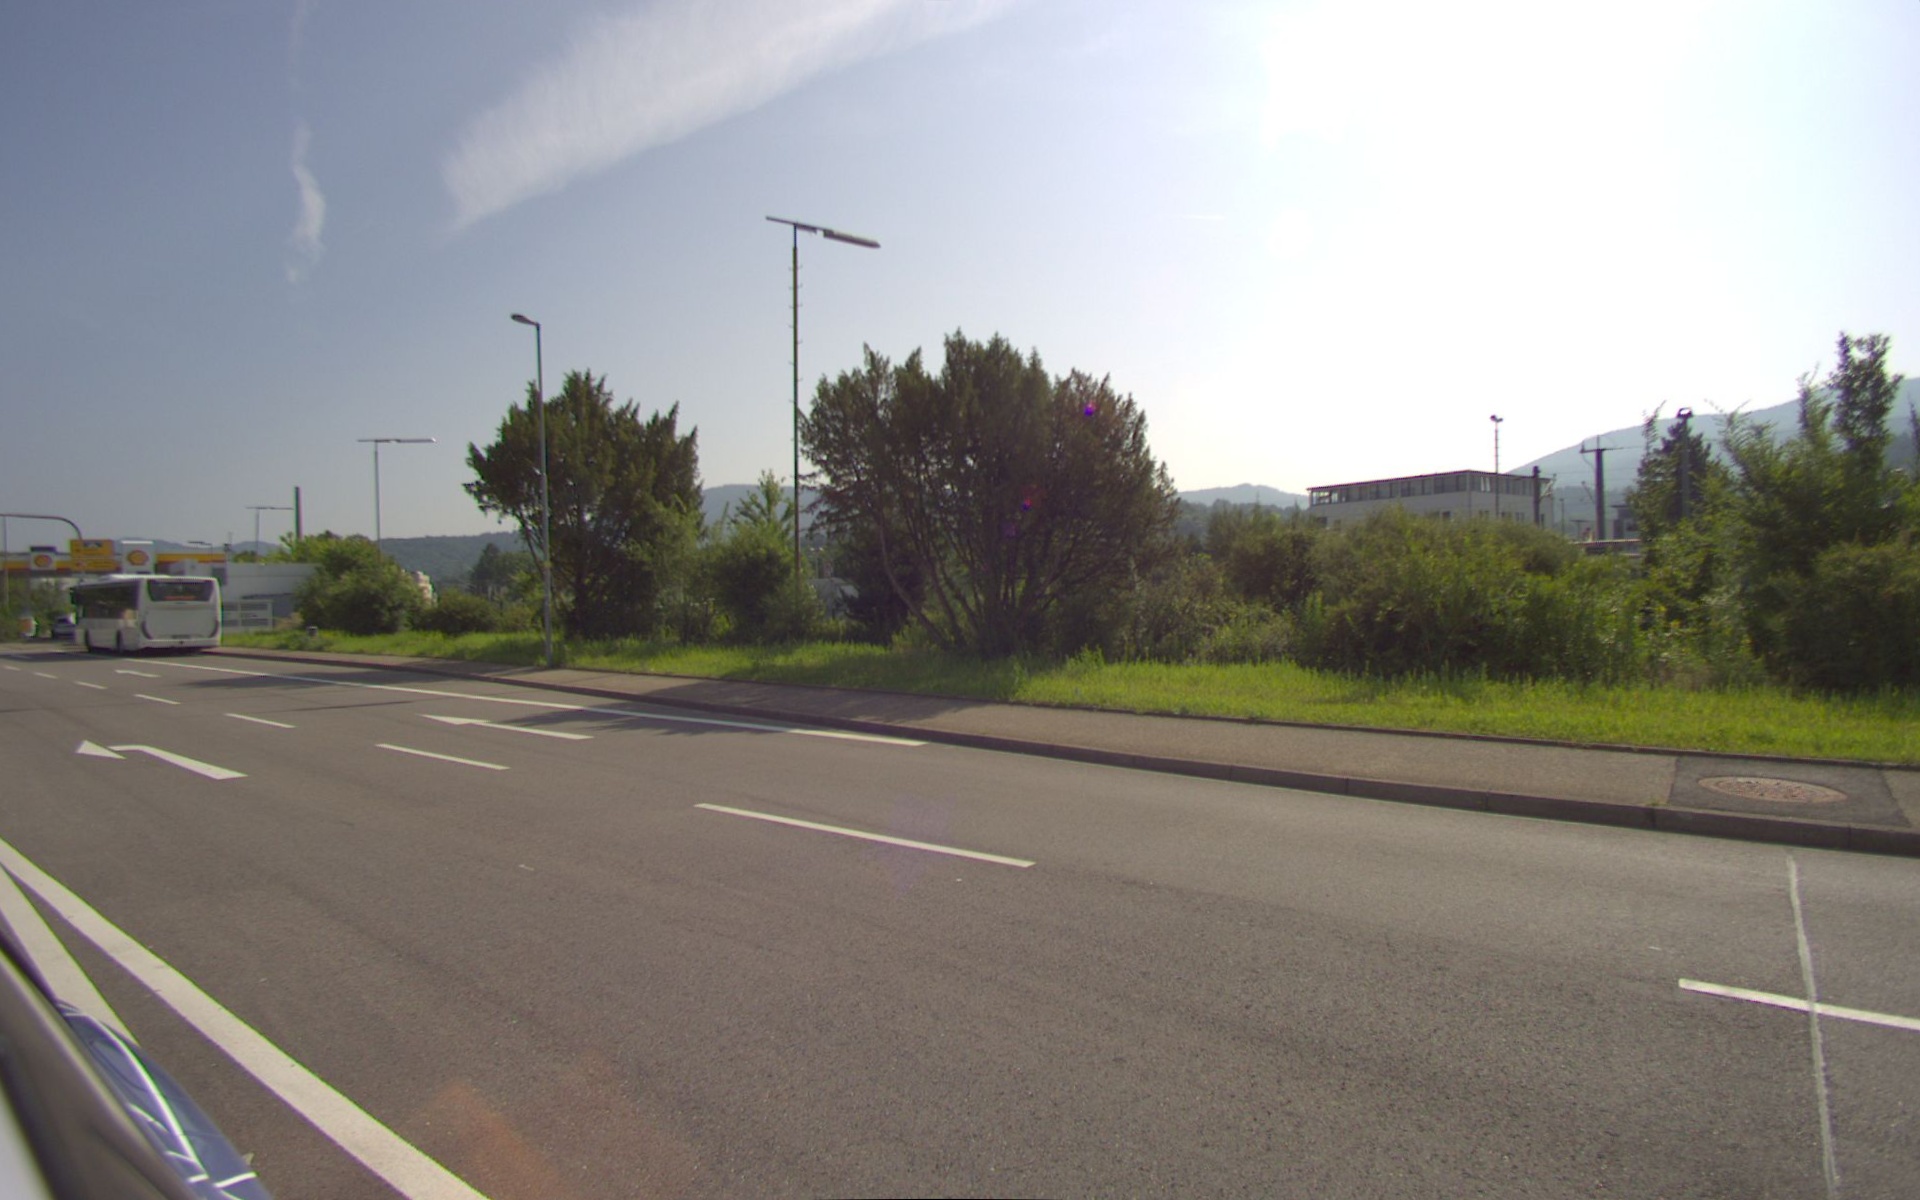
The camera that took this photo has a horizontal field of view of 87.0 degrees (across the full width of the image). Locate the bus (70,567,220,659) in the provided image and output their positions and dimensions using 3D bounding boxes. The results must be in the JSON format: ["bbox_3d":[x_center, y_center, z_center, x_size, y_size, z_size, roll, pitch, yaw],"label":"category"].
[{"bbox_3d":[-33.500,0.535,41.330,11.948,3.335,2.594,-1,-1,40],"label":"bus"}]
